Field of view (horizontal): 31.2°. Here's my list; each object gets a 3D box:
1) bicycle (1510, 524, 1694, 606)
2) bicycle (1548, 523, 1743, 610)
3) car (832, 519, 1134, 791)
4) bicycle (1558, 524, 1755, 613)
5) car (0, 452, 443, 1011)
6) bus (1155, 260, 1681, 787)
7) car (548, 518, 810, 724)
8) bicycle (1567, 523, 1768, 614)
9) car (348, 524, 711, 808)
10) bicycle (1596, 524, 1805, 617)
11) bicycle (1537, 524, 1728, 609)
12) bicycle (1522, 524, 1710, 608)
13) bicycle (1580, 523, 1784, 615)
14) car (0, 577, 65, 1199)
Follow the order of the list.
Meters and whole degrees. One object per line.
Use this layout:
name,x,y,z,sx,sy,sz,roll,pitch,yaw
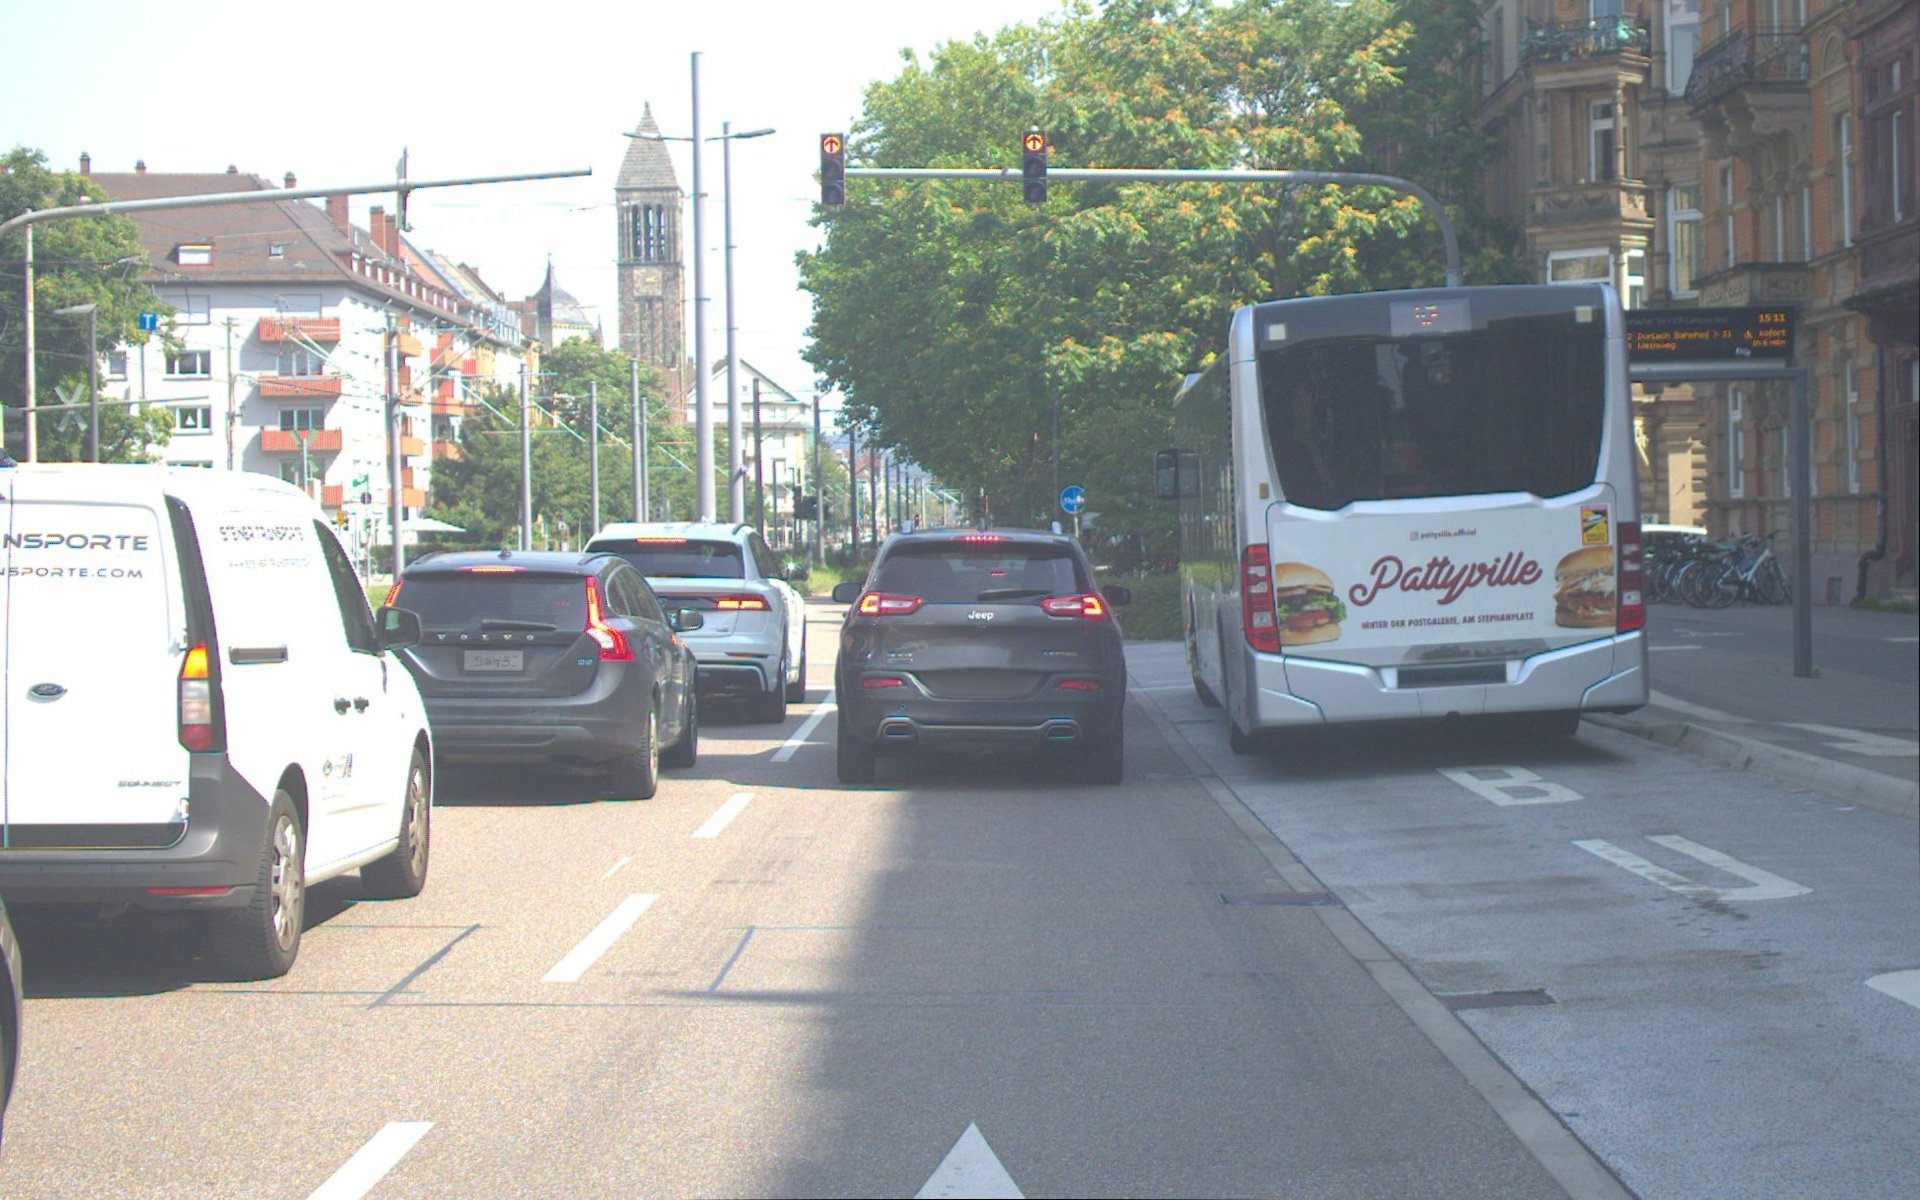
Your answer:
bicycle,11.208,-0.614,60.071,3.004,1.368,0.947,-1,1,0
bicycle,11.277,-0.552,56.648,3.004,1.368,0.947,-1,1,0
car,0.184,0.291,23.168,1.833,1.646,4.308,1,1,1
bicycle,11.278,-0.513,55.705,2.993,1.366,0.871,-1,1,0
car,-3.193,0.385,13.272,1.747,1.814,4.239,0,1,0
bus,3.160,-0.574,27.178,2.743,3.096,11.955,-3,1,2
car,-2.337,0.117,29.591,1.902,1.646,4.308,0,1,0
bicycle,11.255,-0.508,54.757,2.993,1.366,0.871,-1,1,0
car,-2.613,0.331,21.785,1.747,1.609,4.308,0,1,0
bicycle,11.390,-0.459,52.937,2.993,1.366,0.871,-1,1,0
bicycle,11.288,-0.568,57.743,3.004,1.368,0.947,-1,1,0
bicycle,11.200,-0.592,58.753,3.004,1.368,0.947,-1,1,0
bicycle,11.295,-0.491,53.844,2.993,1.366,0.871,-1,1,0
car,-2.913,0.681,6.072,1.688,1.409,3.802,0,1,0
